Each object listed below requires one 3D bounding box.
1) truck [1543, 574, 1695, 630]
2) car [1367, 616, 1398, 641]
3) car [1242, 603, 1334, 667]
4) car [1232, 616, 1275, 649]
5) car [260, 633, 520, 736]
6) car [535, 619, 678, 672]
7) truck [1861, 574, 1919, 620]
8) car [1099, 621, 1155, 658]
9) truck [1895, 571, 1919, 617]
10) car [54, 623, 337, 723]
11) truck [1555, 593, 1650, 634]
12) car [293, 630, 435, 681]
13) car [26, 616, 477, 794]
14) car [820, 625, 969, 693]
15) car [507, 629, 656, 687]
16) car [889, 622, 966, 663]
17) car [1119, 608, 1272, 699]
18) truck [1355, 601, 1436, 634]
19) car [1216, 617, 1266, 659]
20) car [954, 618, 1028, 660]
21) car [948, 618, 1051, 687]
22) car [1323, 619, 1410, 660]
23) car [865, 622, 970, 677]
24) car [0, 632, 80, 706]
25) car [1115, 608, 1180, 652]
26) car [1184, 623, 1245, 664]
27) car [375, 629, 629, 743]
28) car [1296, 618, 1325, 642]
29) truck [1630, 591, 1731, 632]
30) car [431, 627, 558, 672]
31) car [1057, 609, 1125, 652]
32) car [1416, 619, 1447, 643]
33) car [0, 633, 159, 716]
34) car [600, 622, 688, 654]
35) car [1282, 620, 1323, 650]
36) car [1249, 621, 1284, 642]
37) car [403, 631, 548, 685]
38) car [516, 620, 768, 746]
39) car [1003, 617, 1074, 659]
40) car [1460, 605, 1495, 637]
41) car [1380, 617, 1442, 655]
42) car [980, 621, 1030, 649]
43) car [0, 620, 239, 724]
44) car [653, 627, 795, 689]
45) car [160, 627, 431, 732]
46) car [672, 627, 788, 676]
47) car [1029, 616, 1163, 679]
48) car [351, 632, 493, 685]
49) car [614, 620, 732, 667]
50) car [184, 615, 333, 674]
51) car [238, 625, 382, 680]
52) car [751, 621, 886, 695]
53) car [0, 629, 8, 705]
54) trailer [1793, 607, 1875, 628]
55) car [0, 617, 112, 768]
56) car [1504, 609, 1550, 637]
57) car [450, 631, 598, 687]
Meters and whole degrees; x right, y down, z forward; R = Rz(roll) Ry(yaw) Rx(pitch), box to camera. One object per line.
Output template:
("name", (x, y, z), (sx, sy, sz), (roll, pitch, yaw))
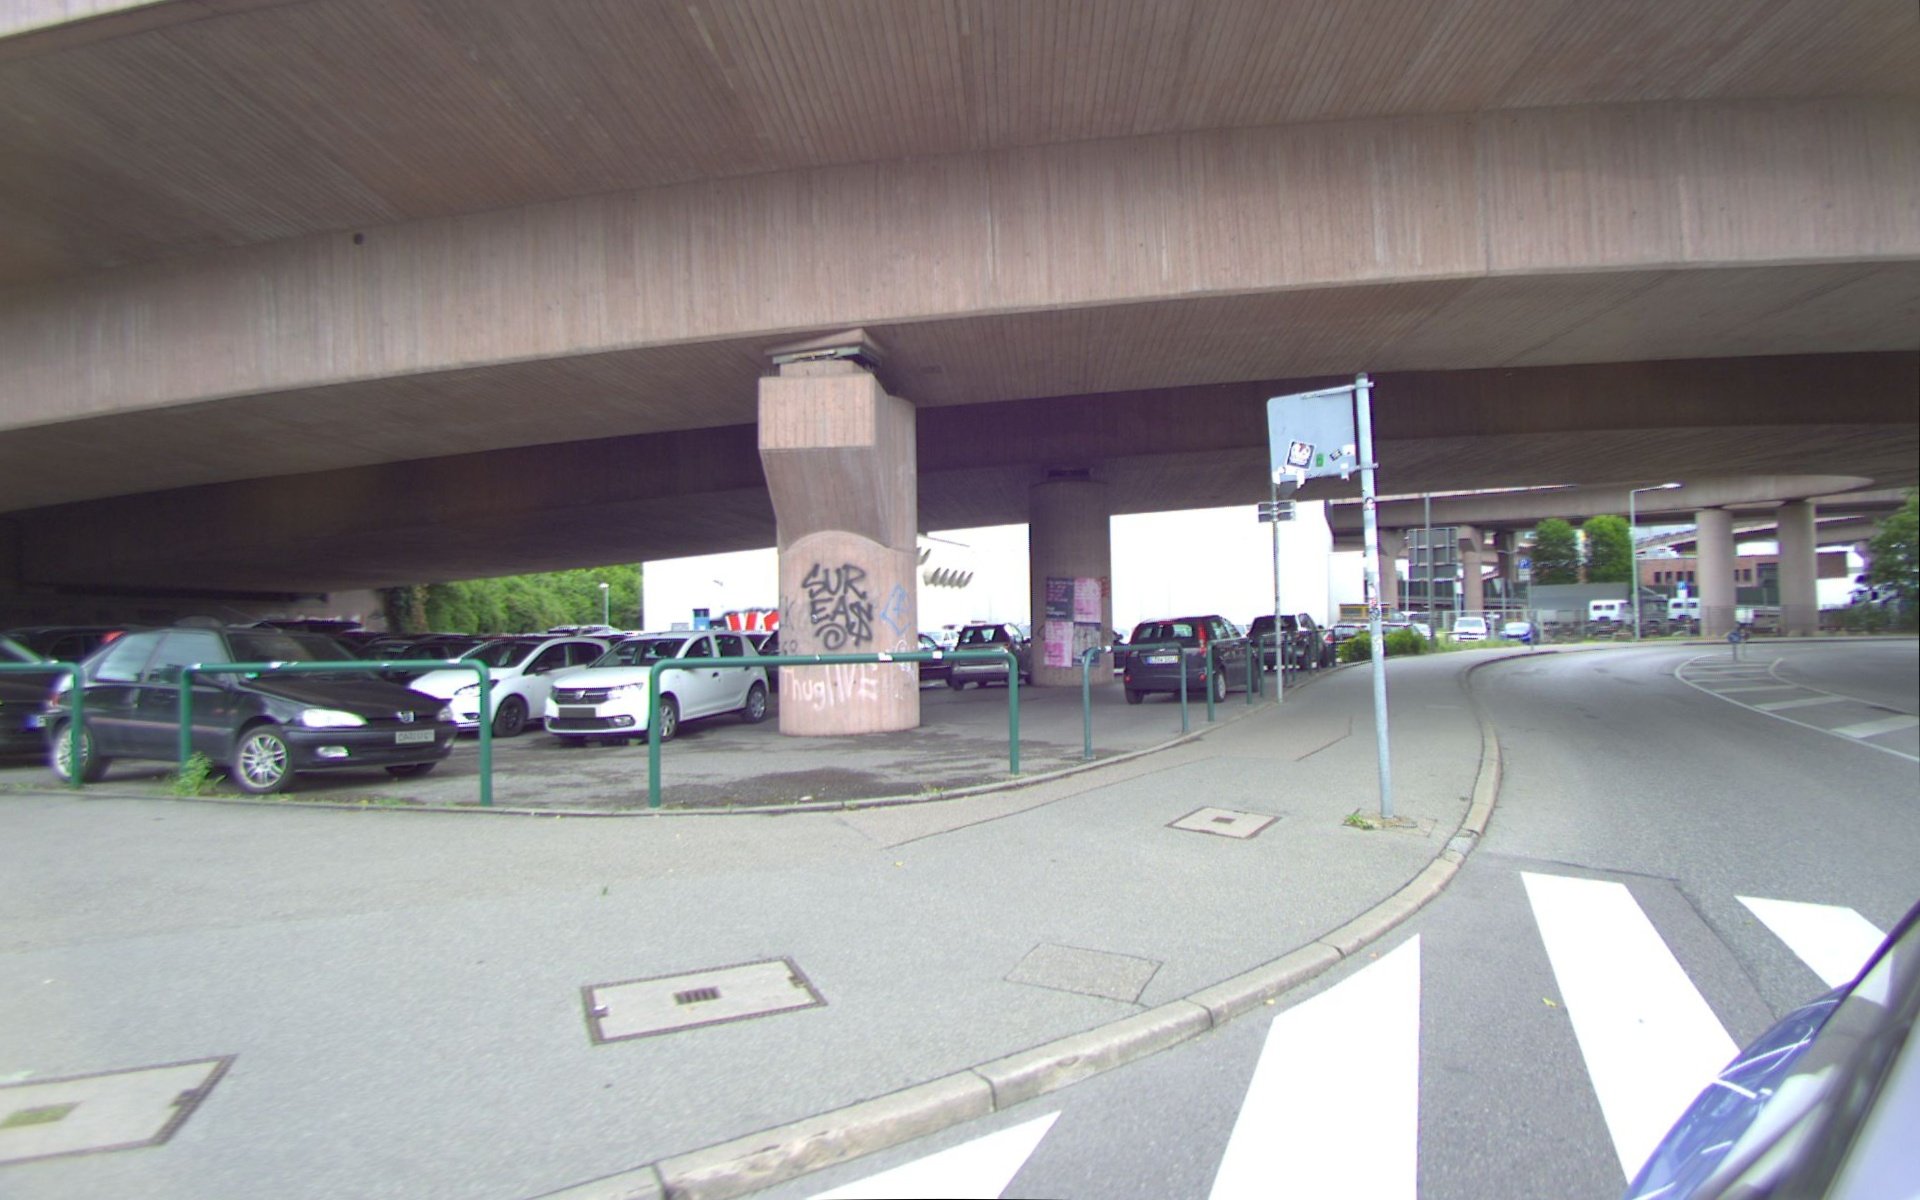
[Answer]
("truck", (55.107, 0.284, 85.060), (10.021, 4.423, 3.882), (-1, -2, 24))
("car", (27.899, 1.843, 66.900), (1.755, 1.608, 4.328), (-1, -1, 22))
("car", (8.783, 0.913, 26.990), (1.597, 1.553, 3.373), (-4, -3, 30))
("car", (15.568, 1.709, 53.494), (1.835, 1.649, 4.588), (-1, -2, 21))
("car", (-9.362, 1.320, 17.008), (1.673, 1.462, 3.845), (-1, -1, 13))
("car", (-12.277, 1.543, 35.564), (2.065, 1.699, 5.071), (-1, -1, 20))
("truck", (76.431, -0.274, 77.991), (10.104, 3.542, 2.252), (-1, 0, 25))
("car", (7.485, 1.739, 45.161), (1.735, 1.577, 4.060), (-1, -1, 20))
("truck", (74.287, -0.485, 75.333), (6.348, 3.452, 2.250), (-1, 0, 27))
("car", (-13.498, 1.213, 18.179), (1.732, 1.575, 3.845), (-1, -1, 13))
("truck", (46.565, 0.982, 73.371), (5.990, 2.923, 2.463), (0, -2, -18))
("car", (-18.615, 1.691, 31.789), (1.658, 1.446, 3.638), (-1, -1, 20))
("car", (-6.324, 0.884, 9.064), (3.653, 1.347, 1.499), (-2, -4, 21))
("car", (-1.491, 1.397, 24.894), (1.818, 1.489, 4.343), (-3, -2, 24))
("car", (-10.286, 1.537, 27.802), (1.815, 1.446, 3.836), (-1, -1, 20))
("car", (-1.300, 1.738, 42.371), (1.815, 1.613, 4.163), (-1, -1, 20))
("car", (4.220, 0.893, 17.751), (1.597, 1.415, 3.540), (-4, -3, 30))
("truck", (41.271, 1.718, 95.926), (6.860, 2.970, 3.022), (-1, -2, 27))
("car", (12.074, 1.576, 43.363), (1.724, 1.697, 4.439), (-1, -1, 20))
("car", (1.317, 1.566, 41.426), (1.815, 1.613, 4.163), (-1, -1, 20))
("car", (1.031, 1.251, 24.785), (1.511, 1.519, 3.352), (-4, -2, 20))
("car", (15.947, 1.504, 39.625), (1.729, 1.498, 4.182), (-2, -2, 44))
("car", (-1.226, 1.490, 31.410), (1.815, 1.570, 4.163), (-1, -1, 20))
("car", (-20.106, 1.392, 19.974), (1.732, 1.457, 3.845), (-1, -1, 13))
("car", (7.307, 1.149, 39.218), (1.815, 1.613, 4.163), (-1, -1, 20))
("car", (9.719, 1.622, 38.500), (1.815, 1.439, 4.163), (-1, -1, 20))
("car", (-7.022, 1.242, 15.995), (1.673, 1.529, 3.845), (-1, -1, 13))
("car", (23.380, 1.977, 67.516), (1.605, 1.564, 3.072), (-1, -1, 24))
("truck", (50.556, 0.775, 70.967), (7.085, 2.779, 2.428), (0, -2, -24))
("car", (-16.726, 1.759, 36.595), (1.815, 1.484, 4.163), (-1, -1, 20))
("car", (5.278, 1.189, 40.241), (1.815, 1.613, 4.163), (-1, -1, 20))
("car", (30.548, 1.969, 65.542), (1.757, 1.475, 4.514), (-1, -1, 25))
("car", (-17.929, 1.399, 19.377), (1.732, 1.453, 3.845), (-1, -1, 13))
("car", (-14.740, 1.746, 47.485), (1.815, 1.427, 4.163), (-1, -1, 20))
("car", (17.814, 1.791, 52.525), (1.835, 1.494, 4.654), (-1, -2, 21))
("car", (20.820, 2.121, 68.667), (1.756, 1.401, 4.325), (-1, -1, 23))
("car", (-14.212, 1.668, 29.906), (1.658, 1.446, 3.836), (-1, -1, 20))
("car", (-4.503, 1.100, 14.970), (1.616, 1.572, 3.989), (-1, -1, 17))
("car", (3.216, 1.506, 40.783), (1.815, 1.613, 4.163), (-1, -1, 20))
("car", (33.567, 1.374, 65.596), (1.877, 1.982, 4.631), (-1, -1, 29))
("car", (19.032, 1.504, 42.703), (1.539, 1.498, 2.717), (-2, -2, 44))
("car", (2.629, 1.986, 58.498), (1.747, 1.553, 3.948), (-1, -2, 21))
("car", (-15.843, 1.237, 18.769), (1.732, 1.716, 3.845), (-1, -1, 13))
("car", (-6.019, 1.455, 26.232), (1.815, 1.446, 3.836), (-1, -1, 20))
("car", (-11.324, 1.280, 17.589), (1.673, 1.575, 3.845), (-1, -1, 13))
("car", (-7.525, 1.664, 33.559), (1.815, 1.484, 4.163), (-1, -1, 20))
("car", (3.854, 1.304, 28.265), (1.785, 1.526, 3.798), (-4, -2, 44))
("car", (-16.164, 1.730, 30.606), (1.658, 1.446, 3.638), (-1, -1, 20))
("car", (-9.679, 1.444, 34.492), (1.815, 1.484, 4.163), (-1, -1, 20))
("car", (-22.872, 1.424, 33.157), (1.860, 1.811, 3.638), (-1, -1, 20))
("car", (-20.713, 1.641, 32.390), (1.658, 1.619, 3.638), (-1, -1, 20))
("car", (-3.504, 1.403, 25.764), (1.815, 1.720, 3.836), (-1, -1, 20))
("car", (-22.291, 1.457, 20.663), (1.732, 1.659, 3.845), (-1, -1, 13))
("trailer", (59.977, 1.189, 69.507), (4.296, 1.348, 1.606), (-1, 0, -3))
("car", (-11.039, 0.951, 10.482), (4.193, 1.439, 1.500), (-2, -3, 19))
("car", (35.880, 1.438, 63.993), (1.766, 1.655, 4.619), (-1, -1, 39))
("car", (-12.429, 1.641, 29.112), (1.815, 1.446, 3.836), (-1, -1, 20))
